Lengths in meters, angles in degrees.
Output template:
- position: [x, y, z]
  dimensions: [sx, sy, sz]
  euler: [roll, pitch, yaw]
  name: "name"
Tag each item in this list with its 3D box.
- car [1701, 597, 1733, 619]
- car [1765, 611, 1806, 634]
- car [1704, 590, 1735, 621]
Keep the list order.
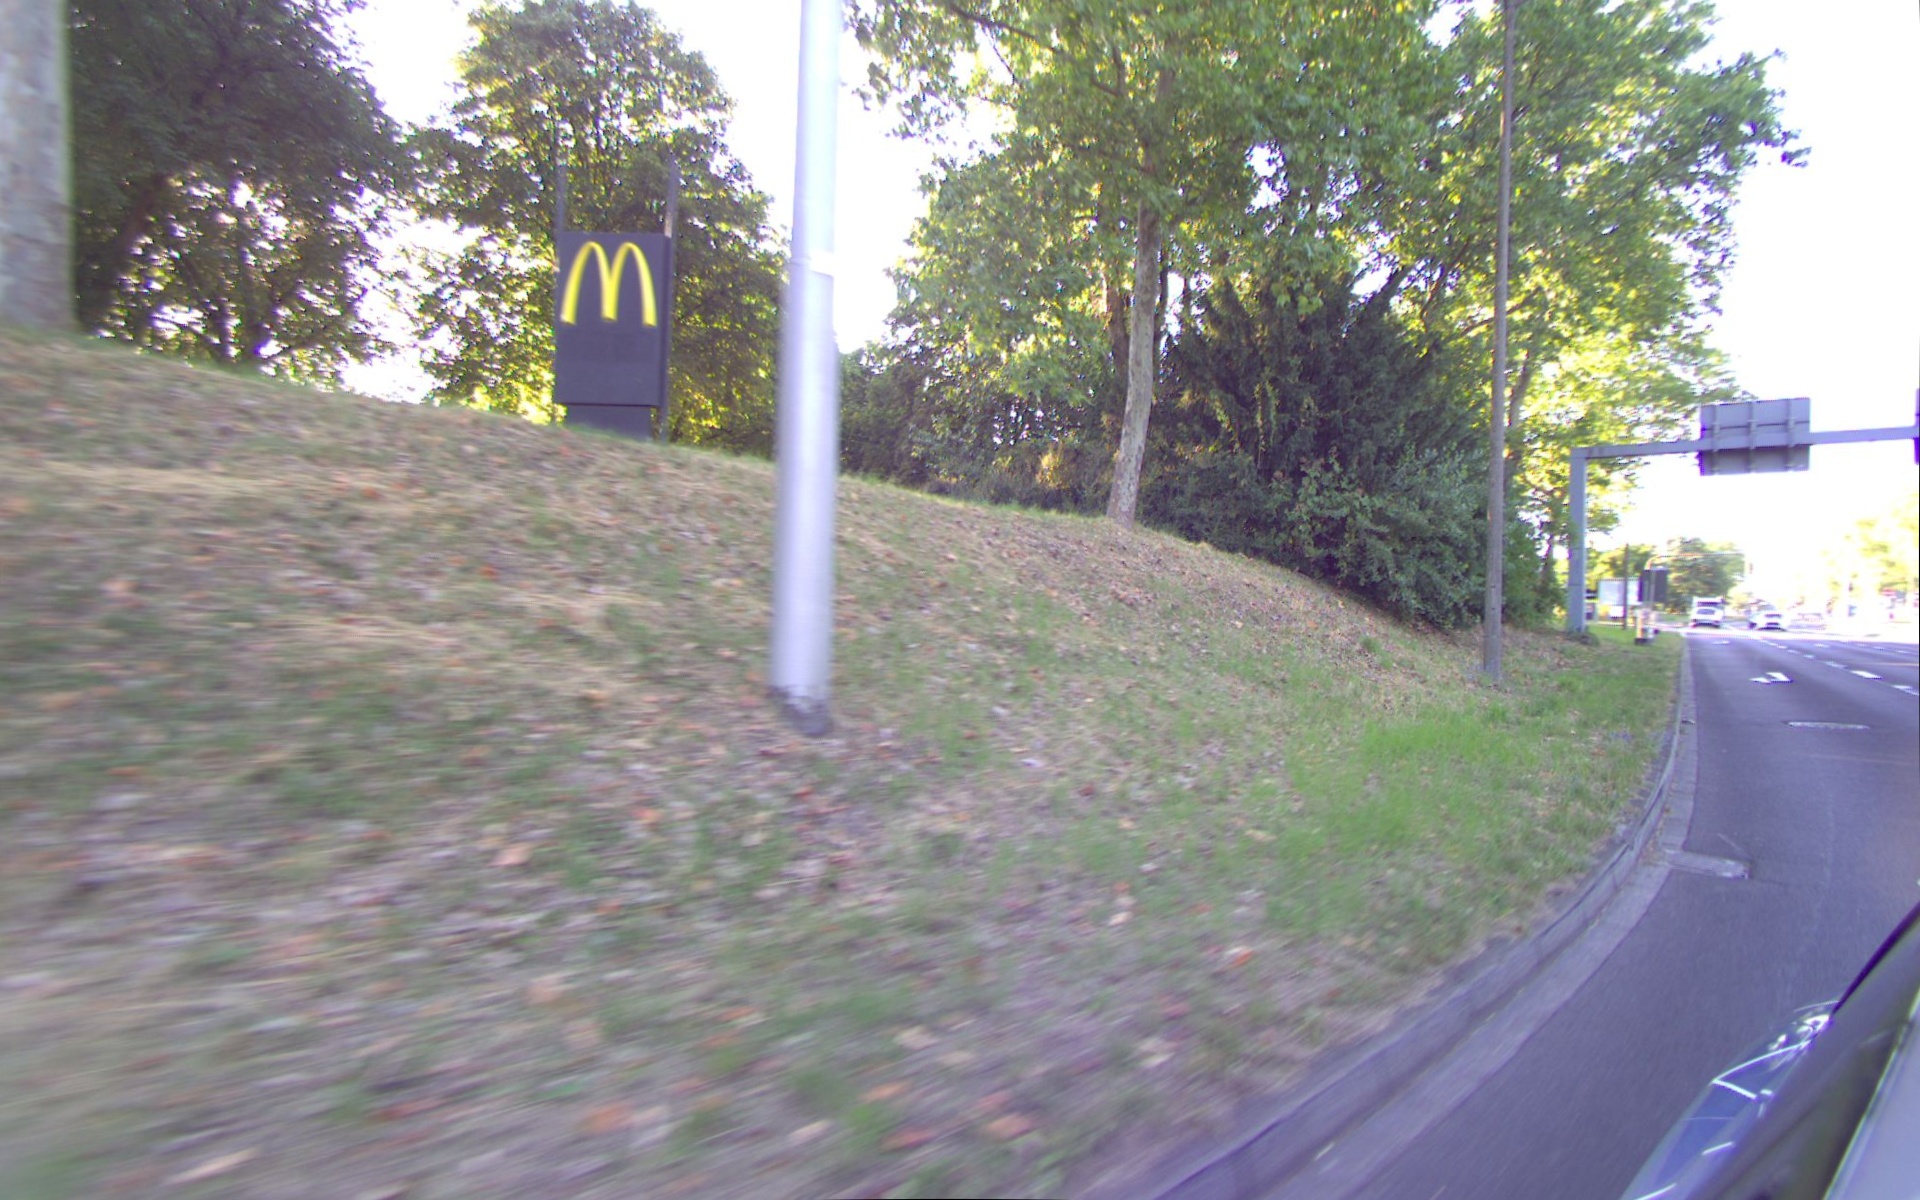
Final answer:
- position: [60.994, 0.662, 81.595]
  dimensions: [1.865, 1.638, 4.488]
  euler: [3, 1, 36]
  name: "car"
- position: [64.609, 1.766, 79.209]
  dimensions: [3.930, 1.638, 1.874]
  euler: [2, 1, -42]
  name: "car"
- position: [66.657, 0.473, 88.836]
  dimensions: [1.999, 2.562, 5.796]
  euler: [3, 1, 37]
  name: "car"
